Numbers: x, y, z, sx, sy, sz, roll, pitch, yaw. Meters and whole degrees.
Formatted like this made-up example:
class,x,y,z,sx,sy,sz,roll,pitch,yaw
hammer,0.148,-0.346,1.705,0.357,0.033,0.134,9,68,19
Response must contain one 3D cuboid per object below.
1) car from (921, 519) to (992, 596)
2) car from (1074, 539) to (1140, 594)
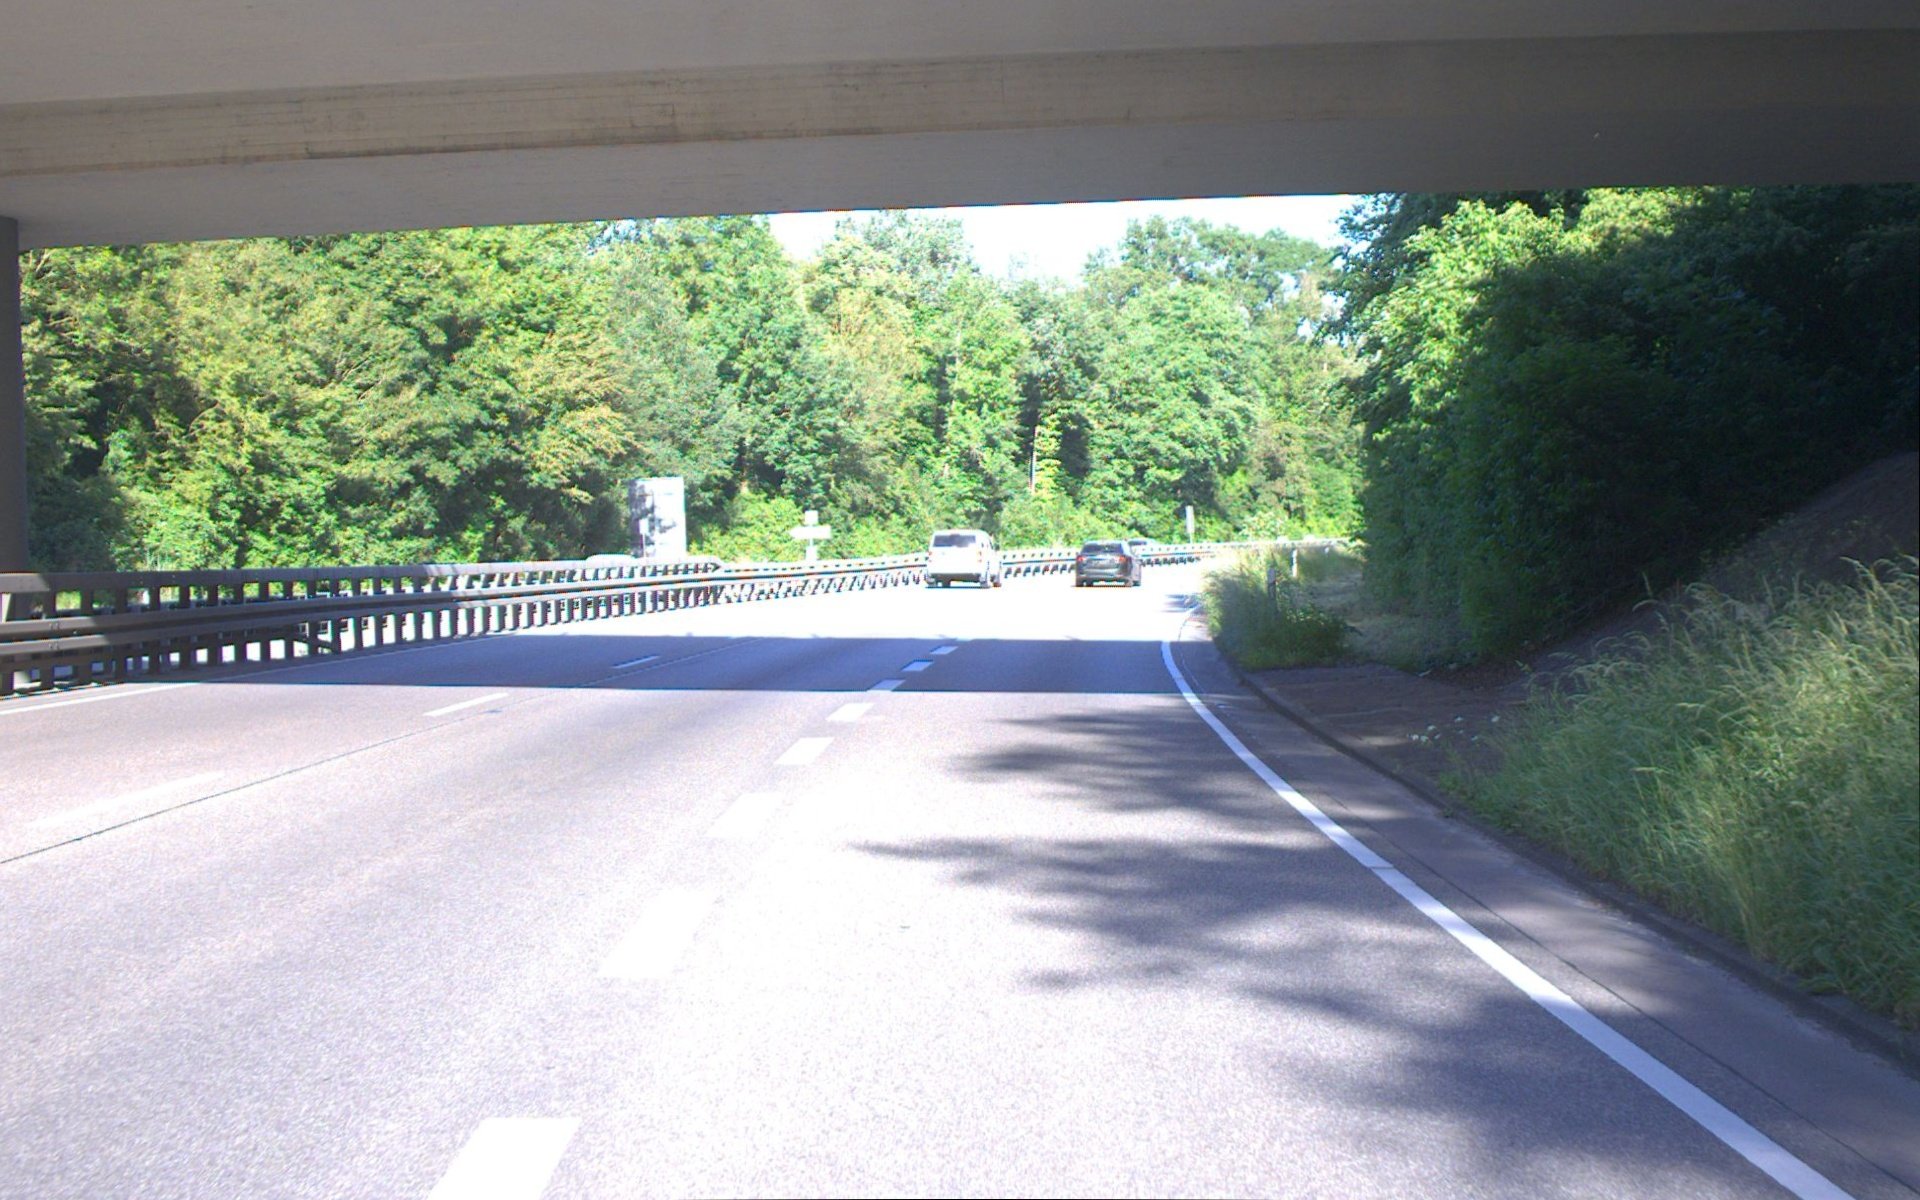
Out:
class,x,y,z,sx,sy,sz,roll,pitch,yaw
car,-0.090,-1.289,104.329,1.993,2.270,4.000,-1,1,2
car,4.655,-1.063,108.812,1.739,1.656,3.944,-1,1,7
